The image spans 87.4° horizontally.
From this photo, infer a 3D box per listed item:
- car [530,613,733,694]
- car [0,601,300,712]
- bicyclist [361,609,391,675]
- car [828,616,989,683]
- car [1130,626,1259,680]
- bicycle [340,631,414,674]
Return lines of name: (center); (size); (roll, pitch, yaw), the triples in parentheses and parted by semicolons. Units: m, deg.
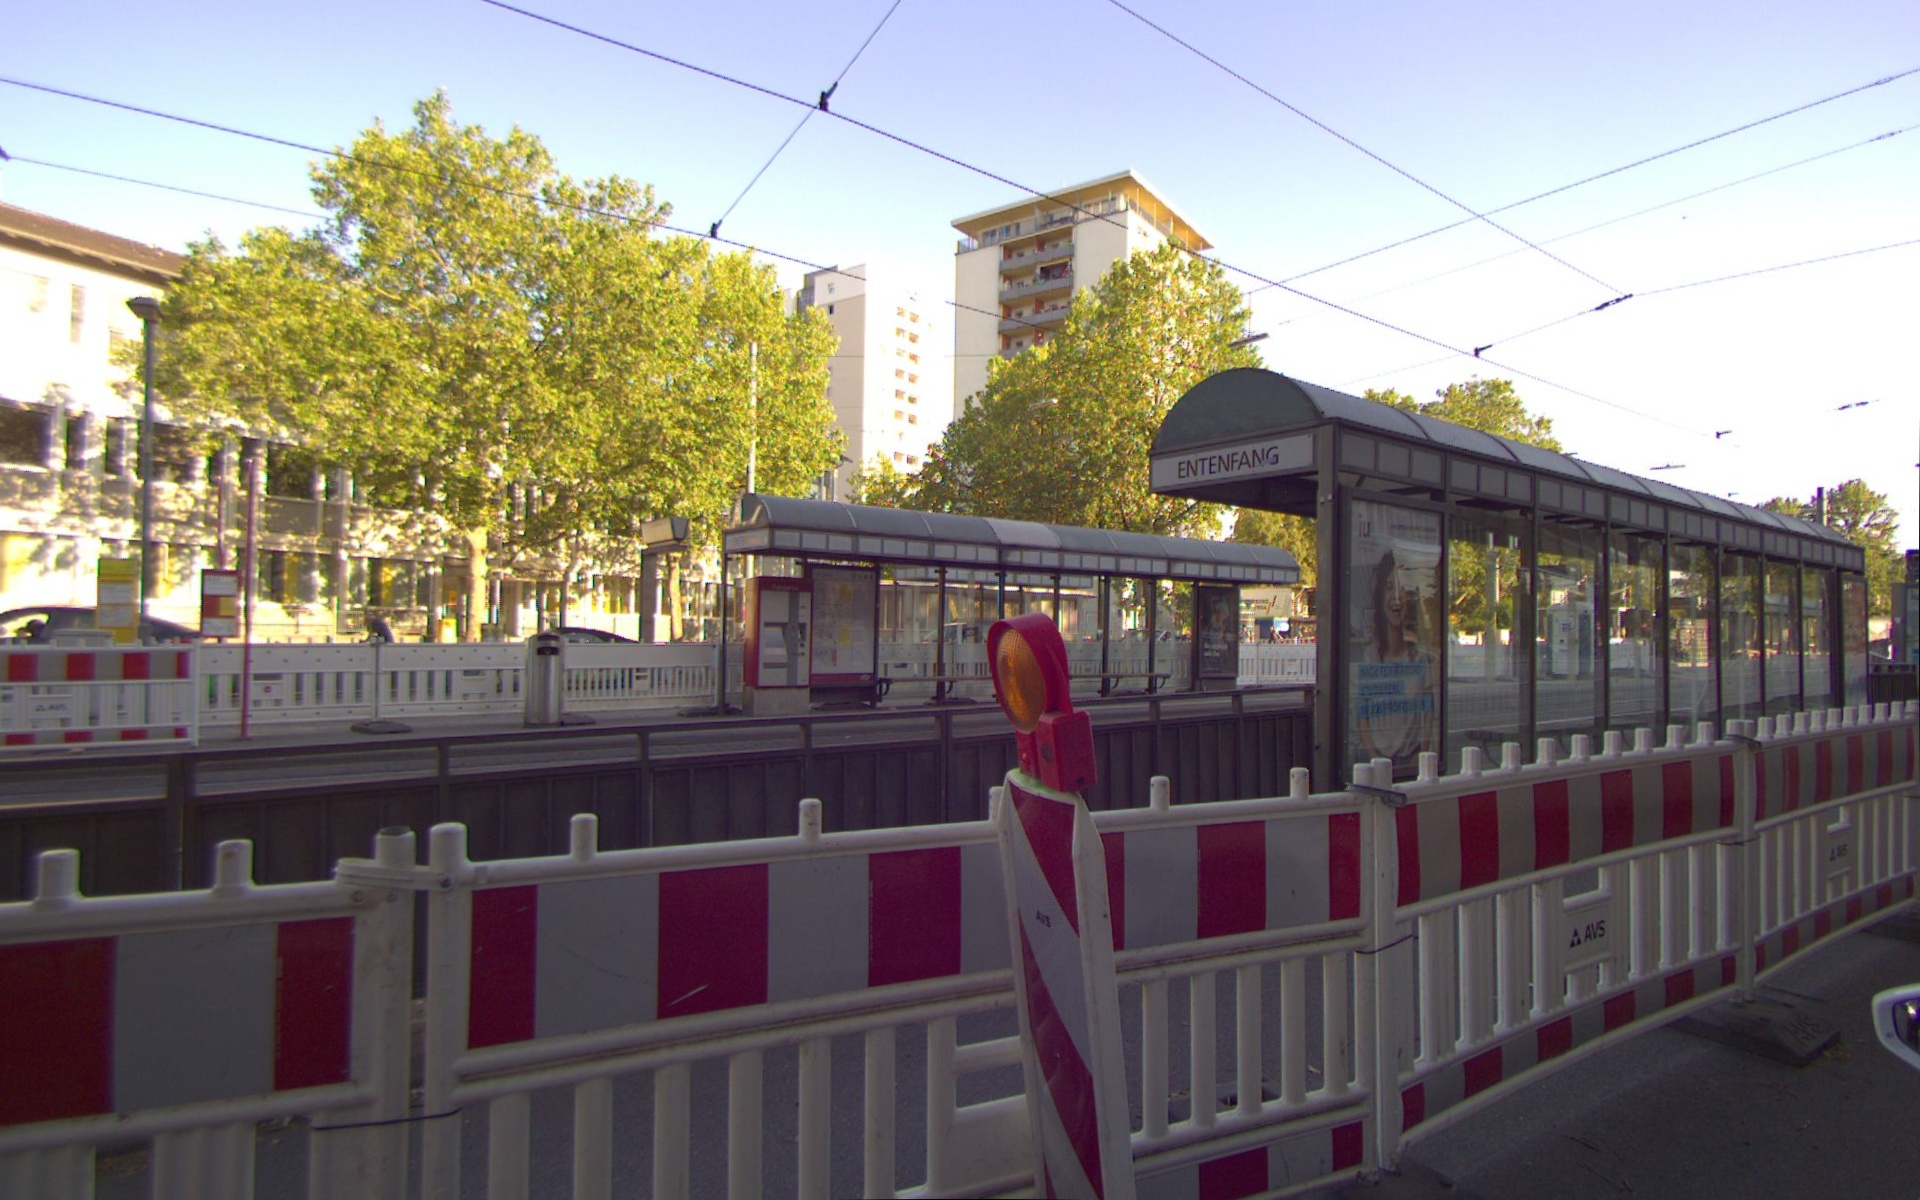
car: (-7.381, 1.178, 22.661); (3.958, 1.683, 1.982); (2, -2, -33)
car: (-13.832, 0.914, 16.879); (4.511, 1.683, 1.982); (2, -2, -34)
bicyclist: (-14.832, 1.059, 25.520); (0.636, 1.635, 0.547); (1, -1, -30)
car: (-1.373, 1.321, 27.202); (3.959, 1.683, 1.901); (2, -2, -34)
car: (7.711, 1.716, 32.989); (3.958, 1.683, 1.982); (2, -2, -33)
bicycle: (-14.801, 1.329, 25.531); (1.603, 1.079, 0.546); (2, -2, -31)
